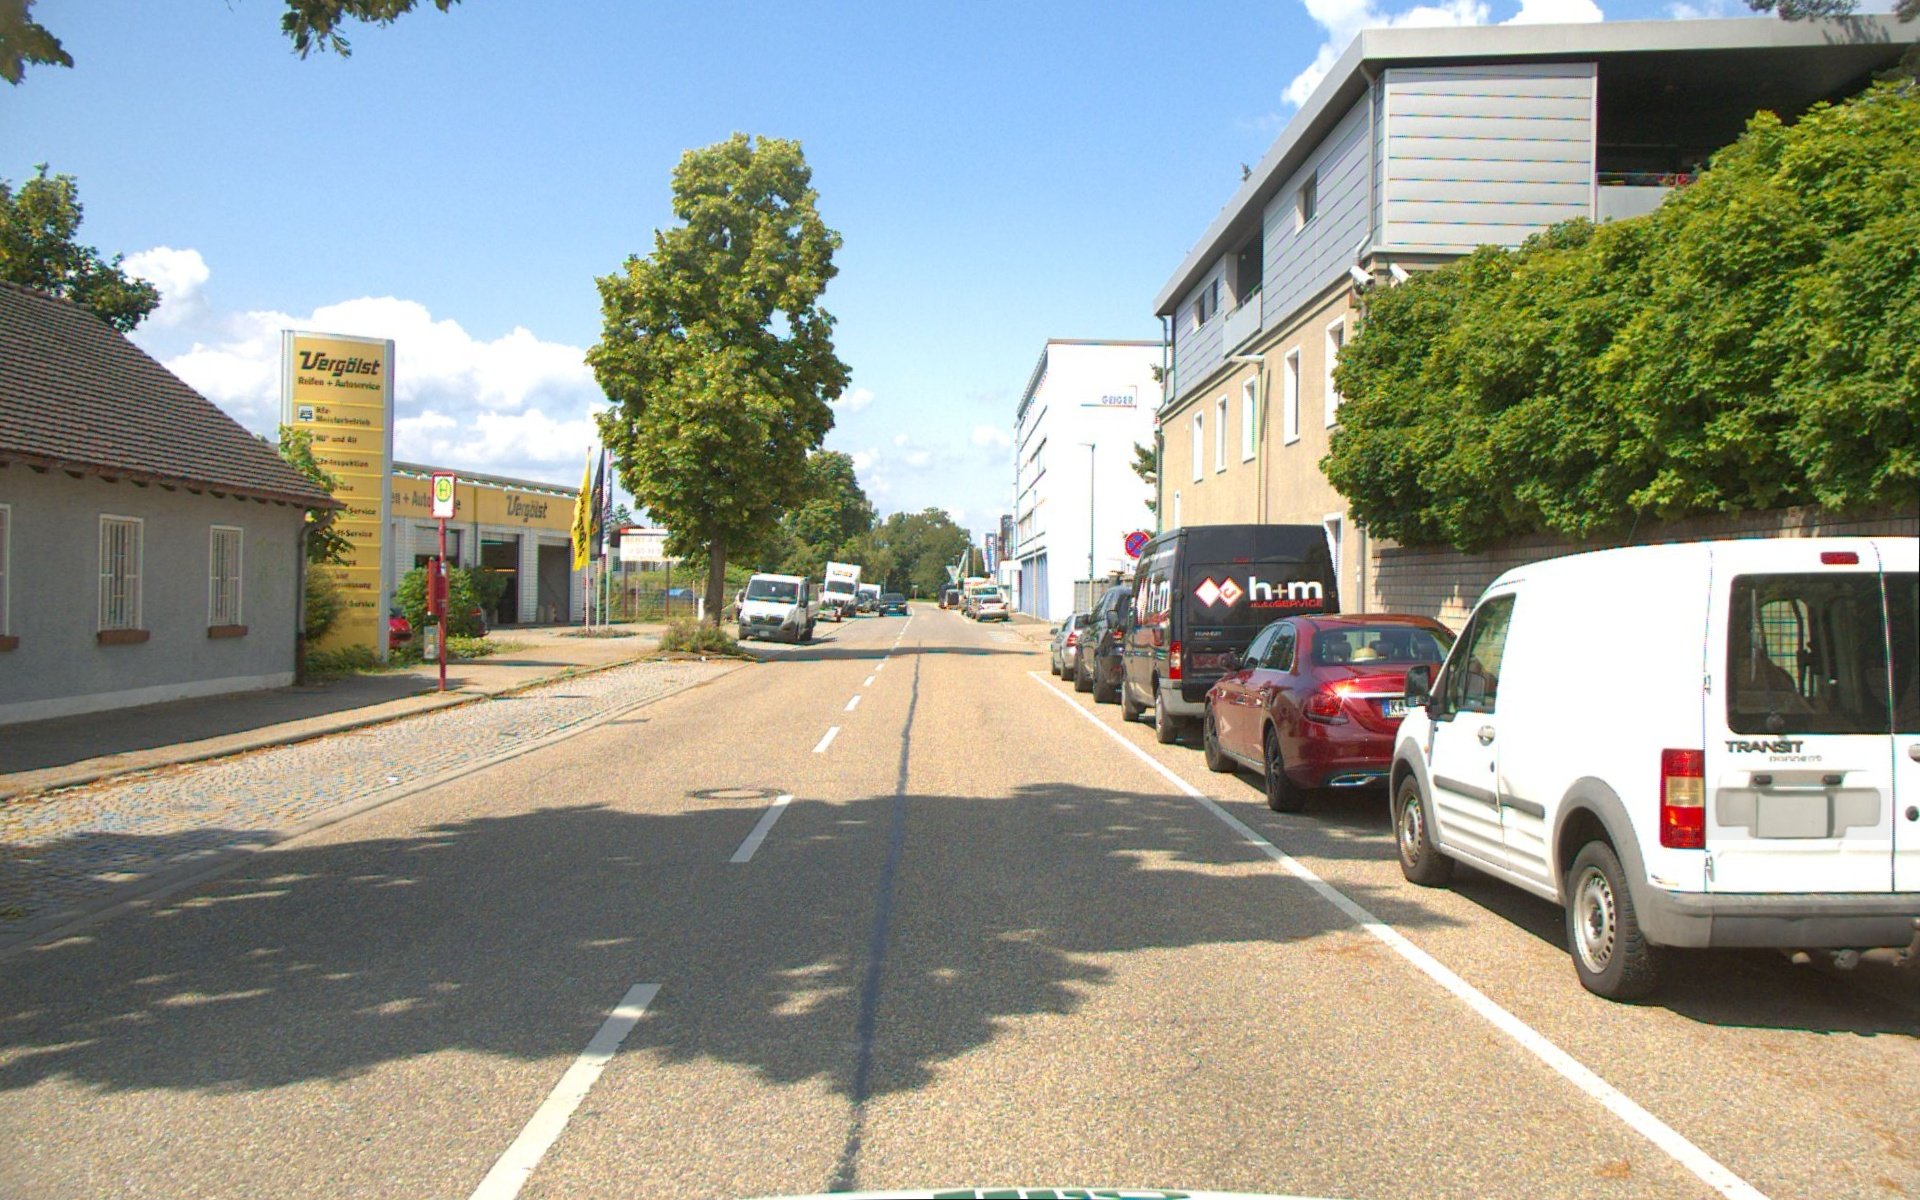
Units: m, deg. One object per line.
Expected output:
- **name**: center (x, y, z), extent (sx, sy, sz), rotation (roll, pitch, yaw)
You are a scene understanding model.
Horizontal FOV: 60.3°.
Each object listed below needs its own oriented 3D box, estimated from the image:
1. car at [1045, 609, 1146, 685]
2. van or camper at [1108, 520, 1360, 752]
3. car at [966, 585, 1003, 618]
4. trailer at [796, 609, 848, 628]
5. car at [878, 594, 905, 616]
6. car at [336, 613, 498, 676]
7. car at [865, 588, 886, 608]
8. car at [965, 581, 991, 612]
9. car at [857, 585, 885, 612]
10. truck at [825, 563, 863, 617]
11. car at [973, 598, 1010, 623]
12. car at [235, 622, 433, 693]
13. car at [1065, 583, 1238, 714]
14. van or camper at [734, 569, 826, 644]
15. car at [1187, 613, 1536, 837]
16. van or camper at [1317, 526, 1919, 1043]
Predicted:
- **car**: center (2.632, 0.889, 32.871), extent (1.596, 1.377, 3.923), rotation (1, 0, -1)
- **van or camper**: center (3.087, 0.372, 19.884), extent (1.953, 2.331, 5.446), rotation (2, 0, -1)
- **car**: center (1.512, 0.081, 105.538), extent (2.171, 2.049, 5.484), rotation (1, 0, -1)
- **trailer**: center (-7.446, 0.984, 89.525), extent (2.368, 0.828, 5.536), rotation (3, 0, -1)
- **car**: center (-4.519, 0.323, 109.169), extent (1.621, 1.348, 4.415), rotation (1, 0, -1)
- **car**: center (-13.534, 1.080, 41.264), extent (3.733, 1.401, 1.868), rotation (-1, 1, -20)
- **car**: center (-7.378, -0.168, 144.428), extent (1.678, 1.679, 3.999), rotation (1, 0, -1)
- **car**: center (1.238, -0.266, 116.163), extent (1.673, 2.126, 3.999), rotation (1, 0, -2)
- **car**: center (-6.770, -0.127, 126.271), extent (1.953, 2.049, 3.999), rotation (1, 0, -1)
- **truck**: center (-7.236, -0.622, 103.538), extent (1.988, 3.209, 6.498), rotation (1, 0, -1)
- **car**: center (1.719, 0.561, 91.700), extent (1.889, 1.333, 3.999), rotation (1, 0, -1)
- **car**: center (-13.885, 1.253, 36.753), extent (3.754, 1.447, 1.732), rotation (1, 0, 11)
- **car**: center (2.900, 0.686, 26.129), extent (1.921, 1.812, 4.952), rotation (2, 0, -2)
- **van or camper**: center (-6.340, 0.200, 59.217), extent (2.128, 2.455, 7.699), rotation (1, 0, 2)
- **car**: center (3.104, 0.881, 13.810), extent (1.647, 1.467, 4.765), rotation (2, 0, -1)
- **van or camper**: center (3.390, 0.678, 8.758), extent (1.723, 1.837, 5.586), rotation (2, 0, 0)
